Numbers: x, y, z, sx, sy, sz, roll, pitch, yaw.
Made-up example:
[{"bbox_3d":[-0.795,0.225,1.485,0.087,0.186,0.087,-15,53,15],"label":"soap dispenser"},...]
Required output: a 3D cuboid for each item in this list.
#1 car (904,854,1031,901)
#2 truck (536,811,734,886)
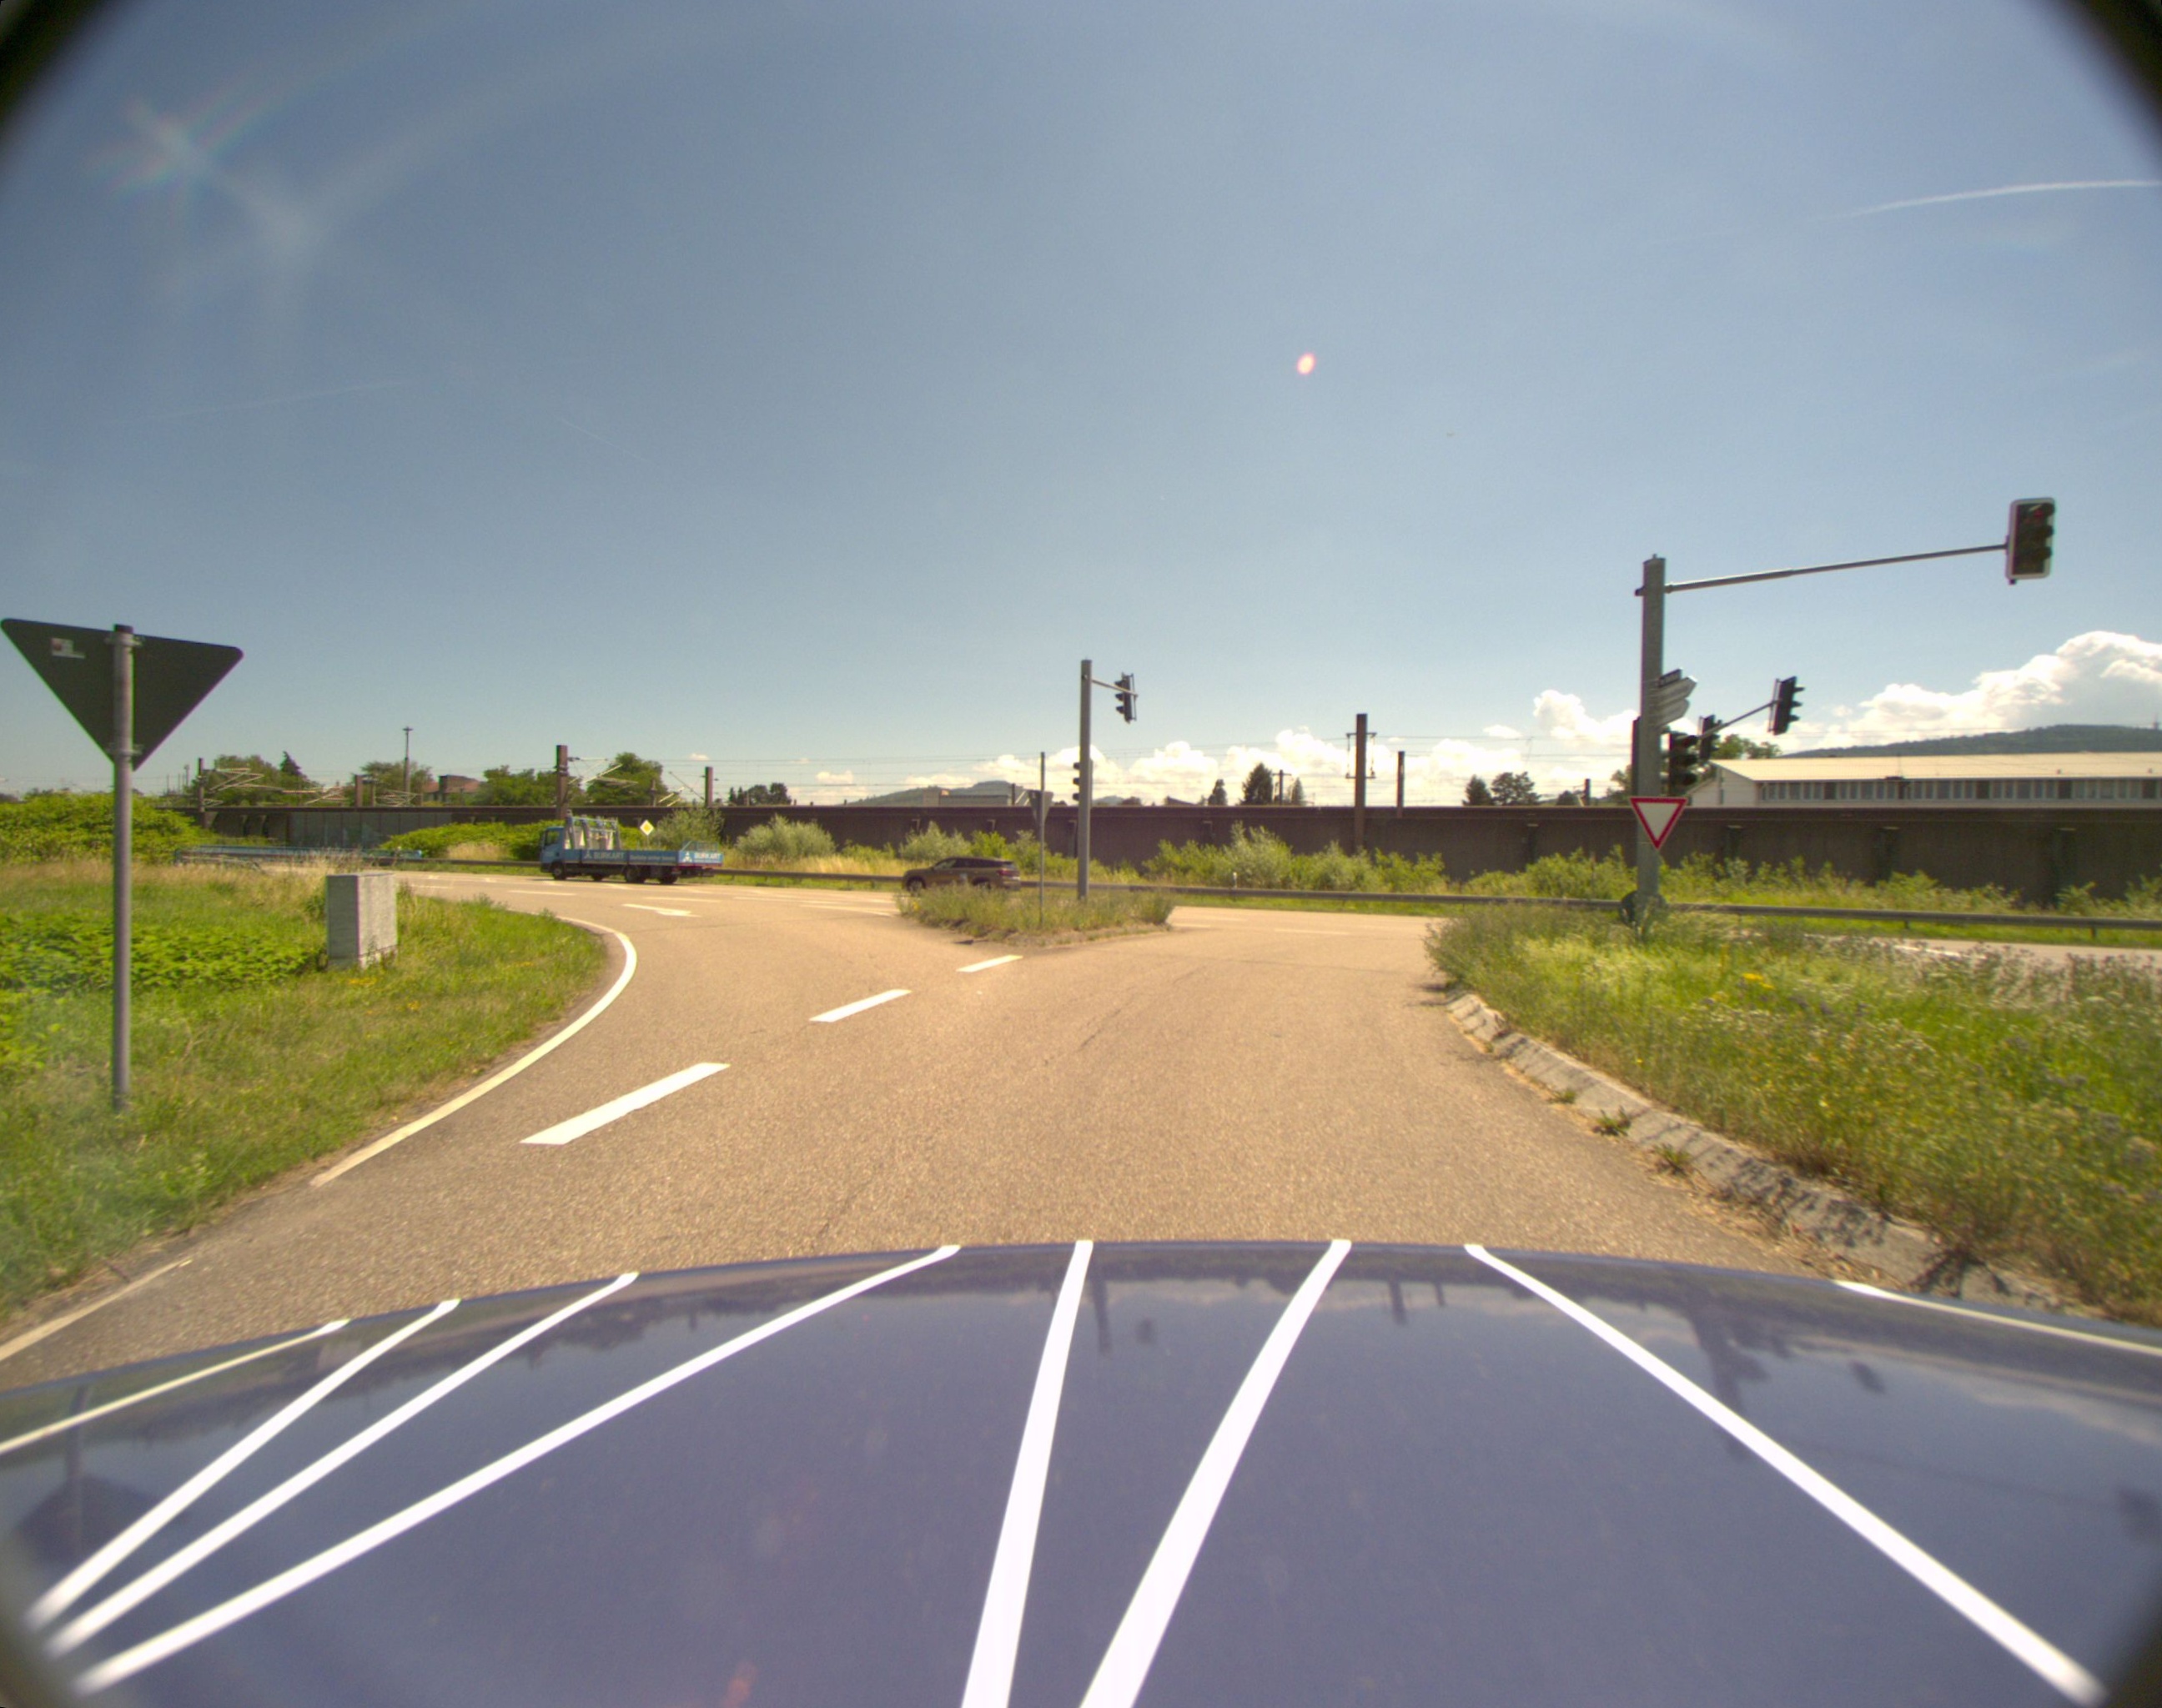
[{"bbox_3d":[-4.452,0.885,29.842,4.613,1.617,1.708,2,-1,17],"label":"car"},{"bbox_3d":[-20.765,-0.288,35.363,8.605,3.131,2.927,2,-1,19],"label":"truck"}]
